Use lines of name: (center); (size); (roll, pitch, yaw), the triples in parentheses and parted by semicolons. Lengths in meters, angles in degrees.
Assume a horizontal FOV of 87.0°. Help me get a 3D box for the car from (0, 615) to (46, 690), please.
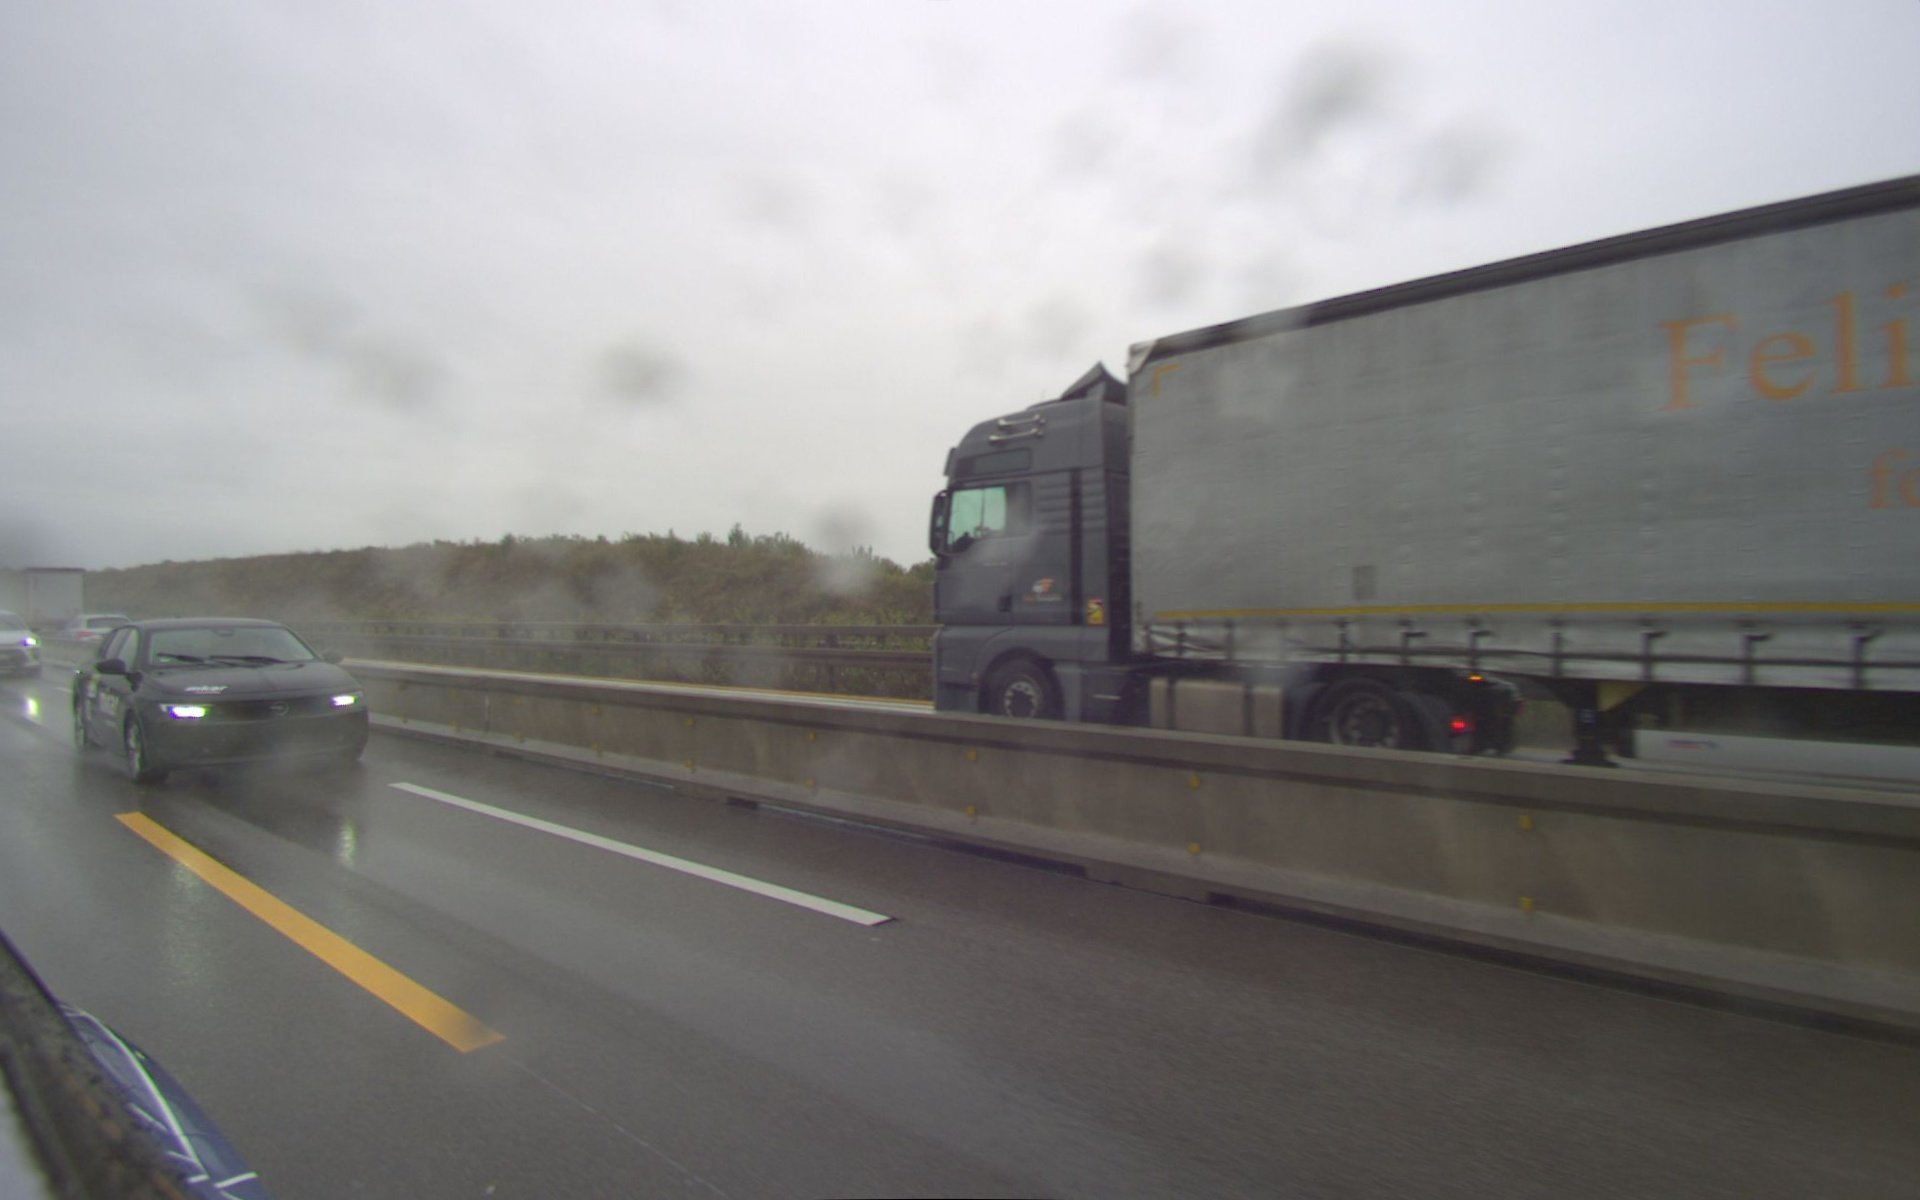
car: (-23.615, 1.224, 24.350); (3.998, 1.693, 1.946); (0, 0, 41)

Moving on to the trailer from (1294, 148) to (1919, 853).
trailer: (8.257, -0.595, 5.358); (12.310, 4.140, 2.622); (0, 0, 42)

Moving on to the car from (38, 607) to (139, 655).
car: (-30.054, 1.000, 34.844); (4.718, 1.518, 2.017); (0, 0, 41)

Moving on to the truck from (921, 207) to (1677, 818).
truck: (2.920, -0.591, 10.103); (6.693, 4.158, 2.614); (0, 0, 42)

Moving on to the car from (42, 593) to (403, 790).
car: (-7.607, 0.753, 10.232); (4.793, 1.539, 1.919); (-1, -1, 41)

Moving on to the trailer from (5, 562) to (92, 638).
trailer: (-56.400, 0.002, 62.474); (13.068, 4.309, 2.658); (0, 0, 42)
